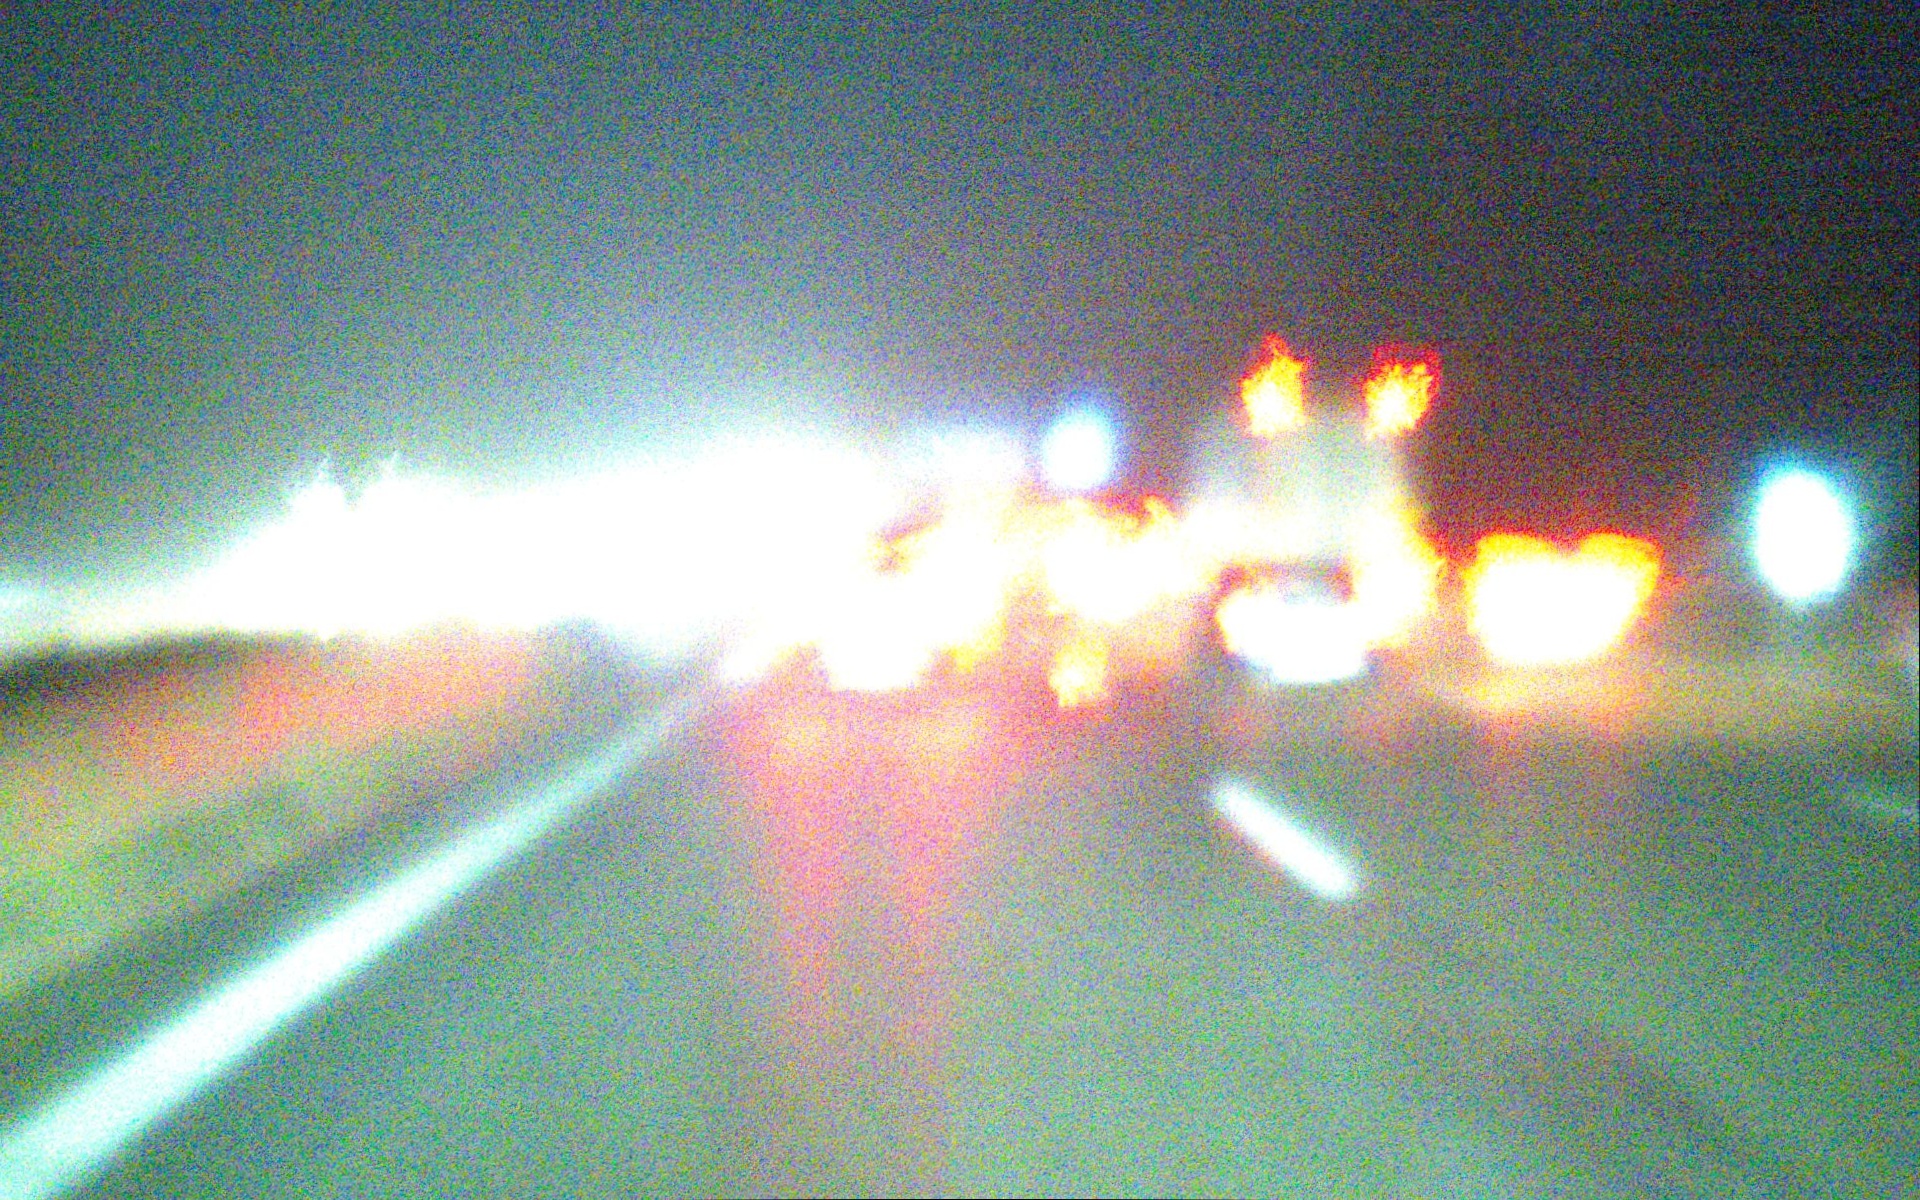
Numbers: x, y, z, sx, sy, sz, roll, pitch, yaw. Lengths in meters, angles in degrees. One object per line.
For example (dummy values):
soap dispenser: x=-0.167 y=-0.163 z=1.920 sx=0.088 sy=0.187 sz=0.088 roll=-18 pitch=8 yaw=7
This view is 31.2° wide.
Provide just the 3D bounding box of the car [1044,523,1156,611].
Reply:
car: x=2.587 y=-0.643 z=64.314 sx=1.884 sy=1.583 sz=4.000 roll=1 pitch=1 yaw=-1

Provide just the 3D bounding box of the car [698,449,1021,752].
car: x=-0.968 y=-0.074 z=32.656 sx=2.709 sy=2.525 sz=5.832 roll=-2 pitch=2 yaw=-2

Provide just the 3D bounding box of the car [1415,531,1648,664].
car: x=6.962 y=-0.074 z=42.375 sx=1.894 sy=1.481 sz=4.962 roll=1 pitch=2 yaw=-2

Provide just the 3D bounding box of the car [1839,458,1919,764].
car: x=7.199 y=0.066 z=21.019 sx=2.046 sy=1.967 sz=5.407 roll=-2 pitch=2 yaw=-2

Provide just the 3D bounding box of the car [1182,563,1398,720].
car: x=3.137 y=0.358 z=33.312 sx=1.612 sy=1.407 sz=3.792 roll=0 pitch=1 yaw=-2

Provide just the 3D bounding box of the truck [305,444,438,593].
truck: x=-17.637 y=-2.494 z=103.473 sx=2.886 sy=4.320 sz=6.746 roll=1 pitch=2 yaw=0

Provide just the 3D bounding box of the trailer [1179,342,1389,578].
trailer: x=6.183 y=-2.613 z=67.573 sx=2.803 sy=4.198 sz=12.097 roll=0 pitch=1 yaw=-1

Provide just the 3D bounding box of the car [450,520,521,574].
car: x=-14.833 y=-1.666 z=107.625 sx=1.678 sy=1.592 sz=4.349 roll=-2 pitch=1 yaw=-2
